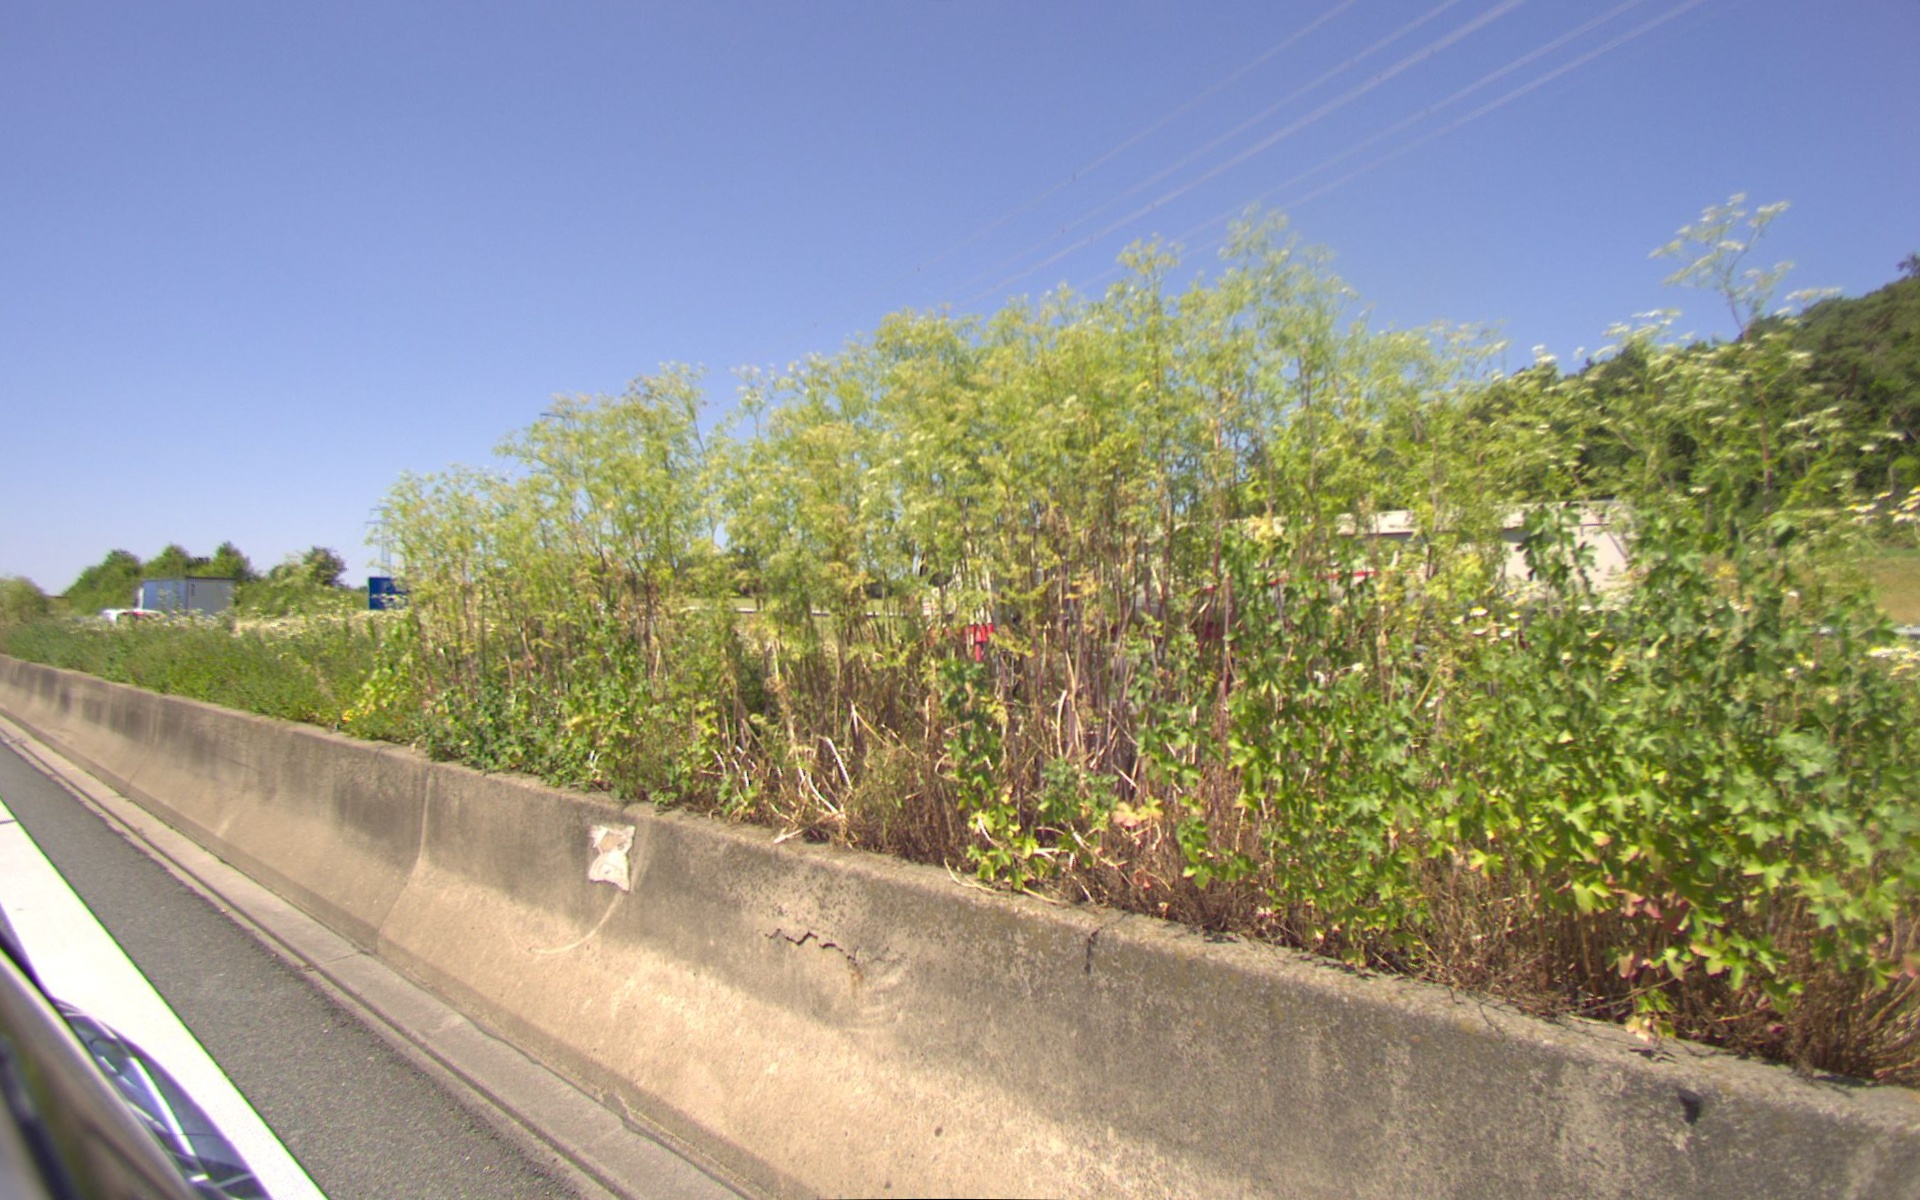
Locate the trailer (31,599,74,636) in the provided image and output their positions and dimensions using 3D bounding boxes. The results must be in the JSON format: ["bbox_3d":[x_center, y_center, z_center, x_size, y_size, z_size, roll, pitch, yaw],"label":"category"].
[{"bbox_3d":[-110.813,2.083,123.554,10.683,4.238,2.792,0,1,42],"label":"trailer"}]

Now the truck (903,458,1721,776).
[{"bbox_3d":[4.189,0.268,15.590,11.819,3.313,2.735,-1,-1,43],"label":"truck"}]

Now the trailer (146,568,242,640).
[{"bbox_3d":[-48.985,0.299,64.575,10.980,4.260,2.979,-1,-1,43],"label":"trailer"}]

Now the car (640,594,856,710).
[{"bbox_3d":[-3.767,0.834,17.630,4.024,1.801,1.588,-1,-1,41],"label":"car"}]

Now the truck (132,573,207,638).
[{"bbox_3d":[-54.262,0.385,69.424,6.685,4.260,2.979,-1,-1,43],"label":"truck"}]

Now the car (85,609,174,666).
[{"bbox_3d":[-27.655,1.216,33.683,3.667,1.815,1.663,-1,-1,41],"label":"car"}]
